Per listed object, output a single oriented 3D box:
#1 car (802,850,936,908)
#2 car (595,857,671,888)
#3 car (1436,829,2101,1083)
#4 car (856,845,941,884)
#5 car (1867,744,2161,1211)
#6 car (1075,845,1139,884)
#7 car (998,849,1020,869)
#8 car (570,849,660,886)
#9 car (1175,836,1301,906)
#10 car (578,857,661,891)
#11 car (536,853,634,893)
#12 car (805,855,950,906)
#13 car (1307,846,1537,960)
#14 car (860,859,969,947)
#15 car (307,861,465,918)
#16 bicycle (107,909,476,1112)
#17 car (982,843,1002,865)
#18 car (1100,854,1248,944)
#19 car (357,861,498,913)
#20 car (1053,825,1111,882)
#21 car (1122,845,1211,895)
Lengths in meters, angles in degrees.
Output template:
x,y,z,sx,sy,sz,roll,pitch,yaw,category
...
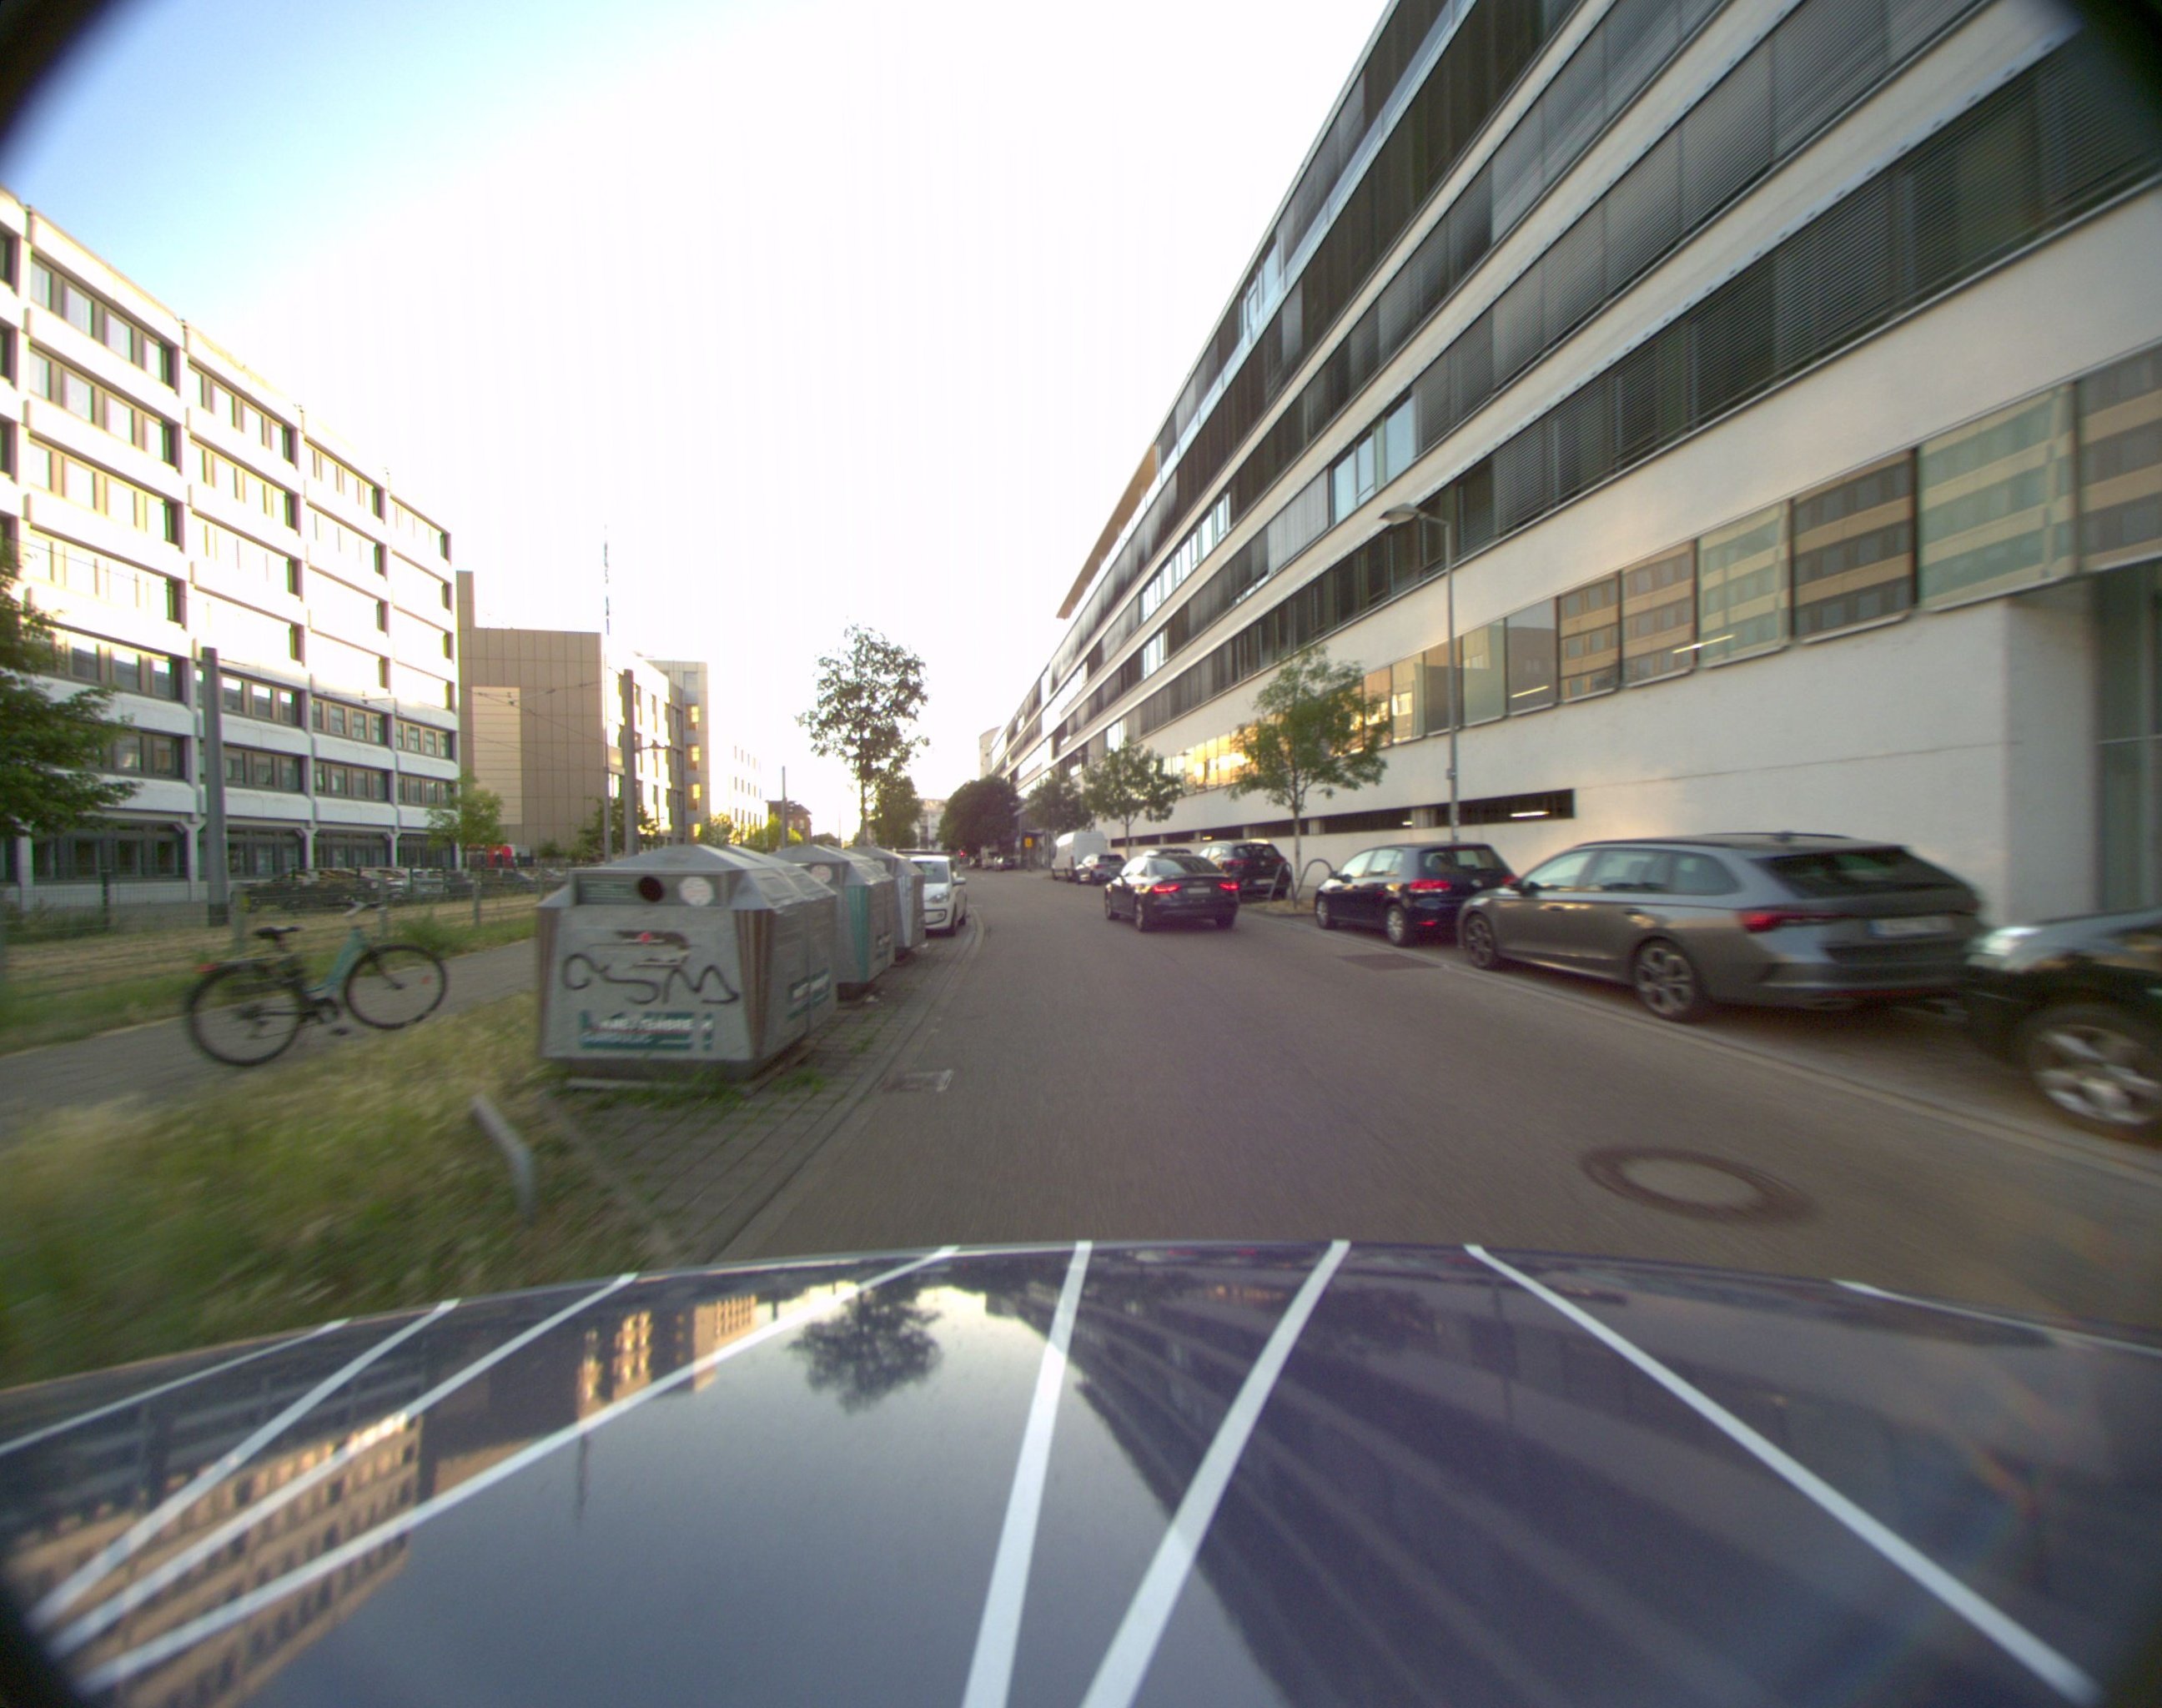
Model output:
x,y,z,sx,sy,sz,roll,pitch,yaw,category
-7.066,0.782,25.651,1.713,1.746,4.008,-1,0,43,car
-30.386,1.225,51.701,4.001,2.002,1.998,-1,0,-13,car
5.349,0.634,6.981,1.865,1.468,4.519,-3,0,-2,car
-9.756,0.533,40.845,1.713,1.948,4.182,-1,0,43,car
5.378,0.473,2.074,1.893,1.961,4.519,-3,0,4,car
1.143,0.486,35.148,1.799,1.692,3.994,0,0,-16,car
-7.305,0.510,76.986,2.000,2.002,3.997,-1,0,-8,car
-27.164,0.747,44.413,4.001,2.002,1.998,-1,0,-13,car
4.125,0.417,20.606,1.798,1.676,3.995,-1,0,-14,car
-29.015,1.244,47.880,4.001,2.002,1.998,-1,0,-13,car
-27.052,1.016,41.621,4.001,2.002,1.998,-1,0,-13,car
-6.170,0.755,23.388,1.713,1.368,4.008,-1,0,41,car
5.081,0.648,11.924,1.653,1.468,3.764,-1,0,-5,car
-3.145,0.860,14.941,1.631,1.503,3.416,-1,0,-5,car
-26.760,1.325,29.422,4.001,2.002,1.998,-1,0,-13,car
-5.743,1.054,5.737,0.542,1.128,1.927,-1,0,10,bicycle
-10.702,0.029,91.204,2.001,2.570,3.995,-1,0,-13,car
1.662,0.773,15.345,1.860,1.489,4.671,-1,0,-7,car
-27.552,1.350,32.183,4.001,2.002,1.998,-1,0,-13,car
-0.059,-0.019,41.086,2.006,2.859,6.249,0,0,-10,car
2.945,0.531,27.026,1.798,1.542,3.995,-3,1,-14,car
